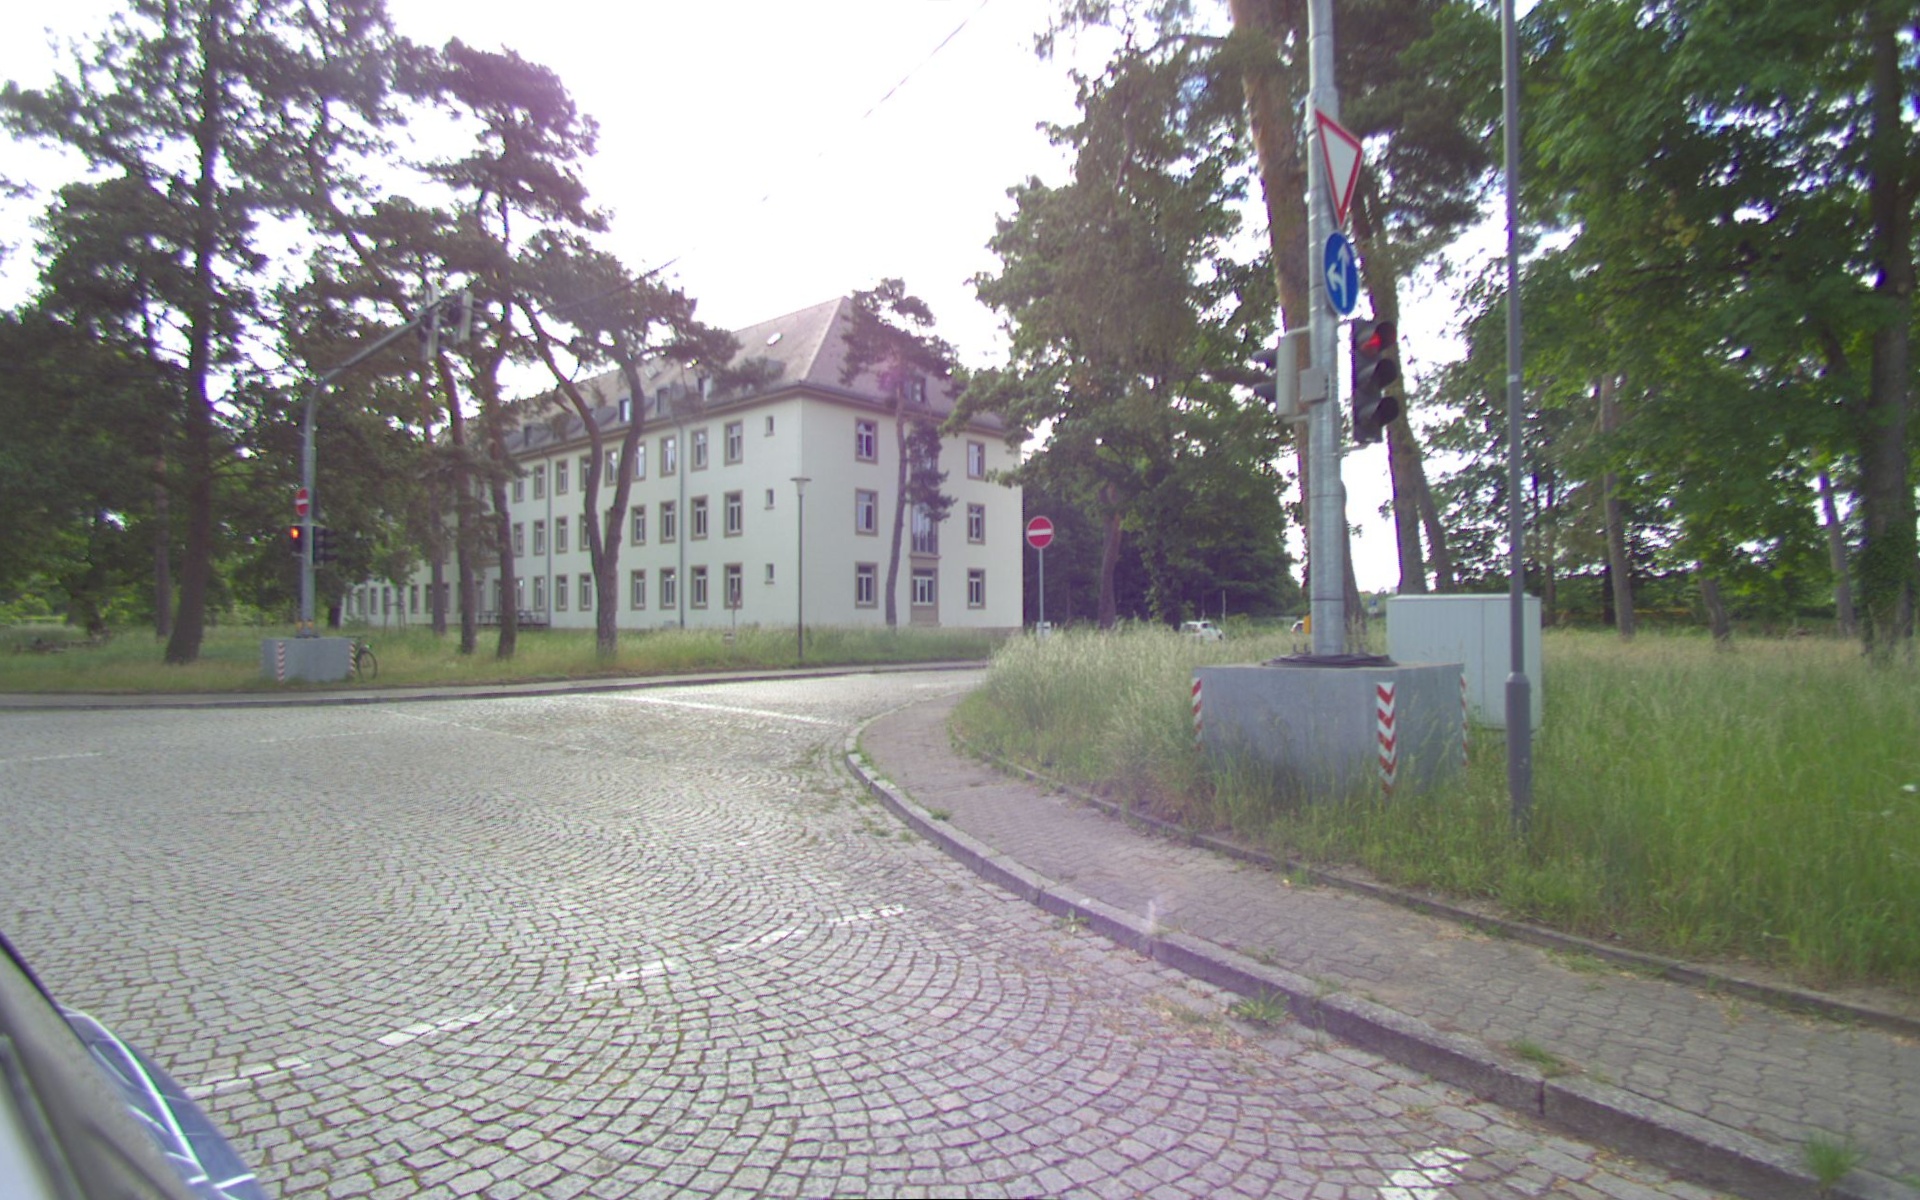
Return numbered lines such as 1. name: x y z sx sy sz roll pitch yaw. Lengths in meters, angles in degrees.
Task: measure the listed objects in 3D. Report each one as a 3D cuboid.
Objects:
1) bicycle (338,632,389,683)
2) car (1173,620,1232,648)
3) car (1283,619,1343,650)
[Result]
1. bicycle: -13.301 1.266 22.544 1.415 1.082 0.491 -1 1 39
2. car: 15.278 2.113 63.668 3.998 1.622 1.718 1 0 -45
3. car: 20.327 1.945 58.202 1.717 1.622 3.999 1 0 44
